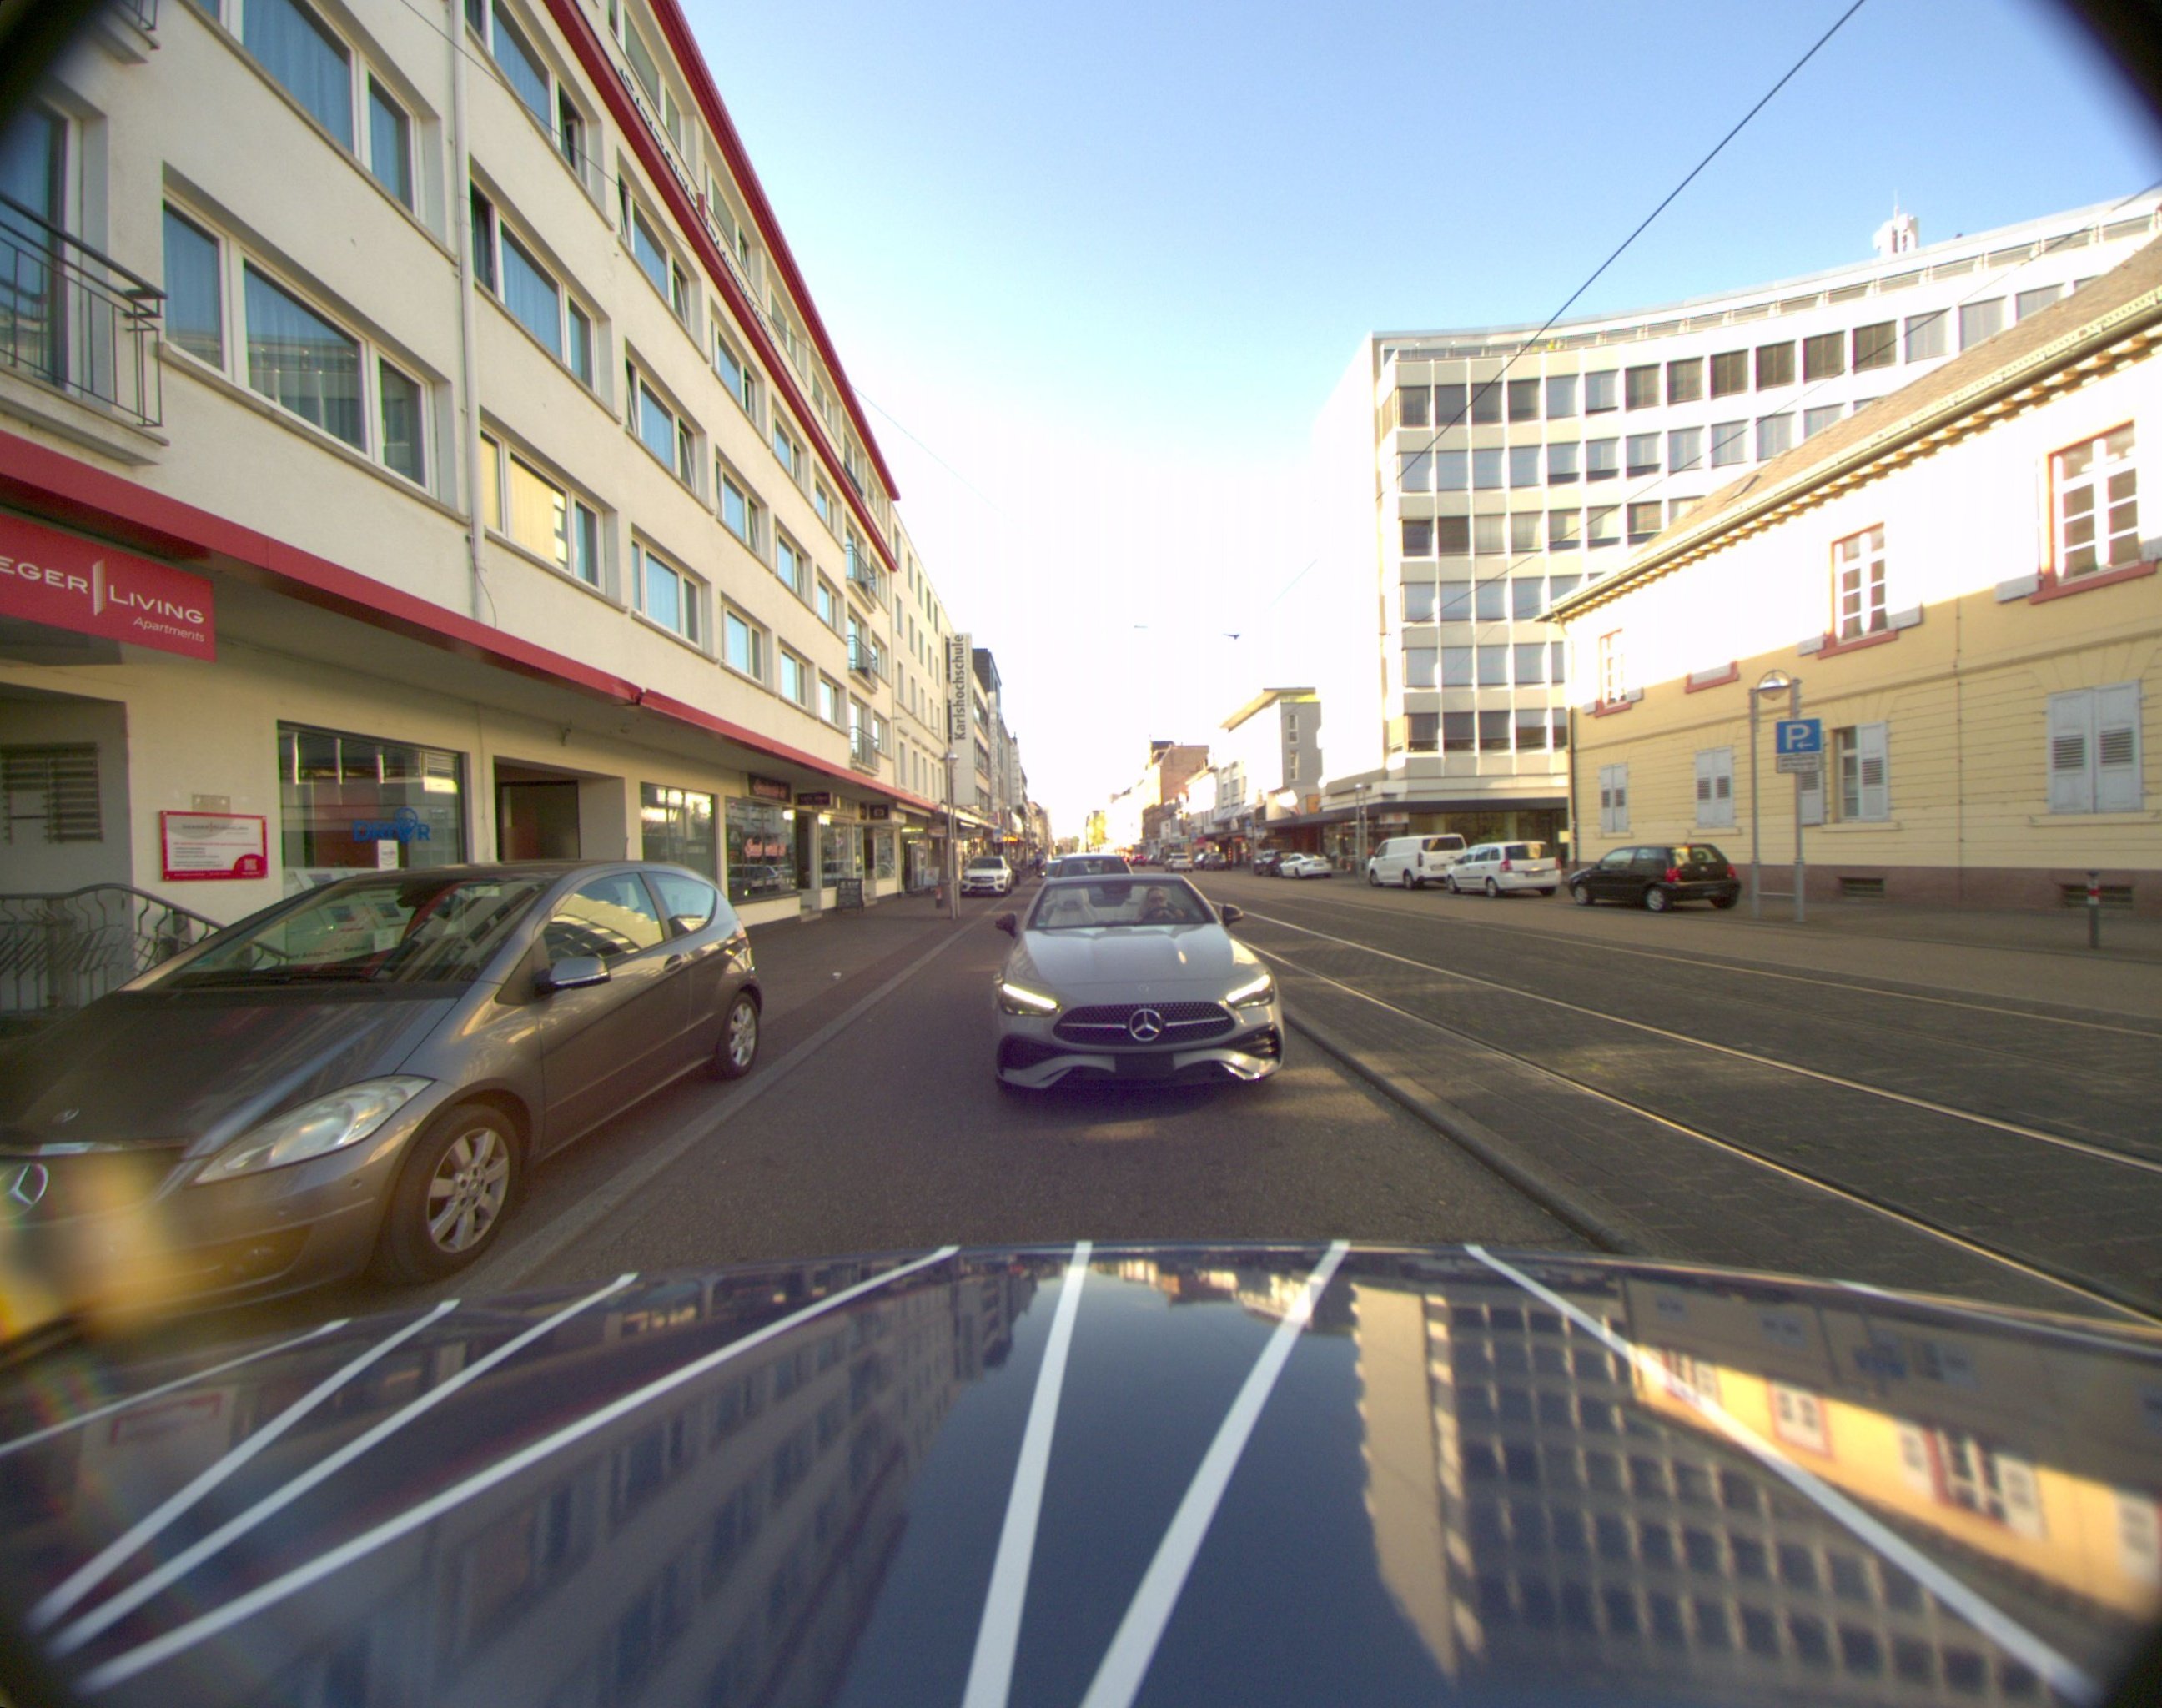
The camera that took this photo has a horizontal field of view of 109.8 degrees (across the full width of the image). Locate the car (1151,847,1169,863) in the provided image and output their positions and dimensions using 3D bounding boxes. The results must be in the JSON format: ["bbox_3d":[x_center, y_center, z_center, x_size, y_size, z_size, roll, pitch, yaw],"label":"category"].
[{"bbox_3d":[10.481,0.105,100.792,1.998,2.002,4.000,-1,0,1],"label":"car"}]

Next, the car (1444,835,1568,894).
[{"bbox_3d":[12.793,0.268,23.157,1.641,1.600,4.005,-2,1,3],"label":"car"}]

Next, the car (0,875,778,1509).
[{"bbox_3d":[-3.219,0.961,3.968,1.683,1.537,3.999,-2,0,-1],"label":"car"}]

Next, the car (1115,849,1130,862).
[{"bbox_3d":[6.829,0.224,125.295,1.914,1.883,3.855,-2,1,-2],"label":"car"}]

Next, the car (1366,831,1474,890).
[{"bbox_3d":[12.680,0.233,28.791,2.040,2.002,4.621,-1,0,1],"label":"car"}]

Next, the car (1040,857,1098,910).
[{"bbox_3d":[-0.408,0.874,24.443,1.648,1.506,3.844,-2,0,-2],"label":"car"}]

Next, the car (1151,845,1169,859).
[{"bbox_3d":[11.544,-0.314,111.473,1.999,2.002,3.998,-2,1,-2],"label":"car"}]

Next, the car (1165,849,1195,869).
[{"bbox_3d":[8.070,0.408,62.342,1.760,1.587,3.999,-1,0,-2],"label":"car"}]

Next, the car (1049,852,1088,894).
[{"bbox_3d":[-0.565,0.793,33.320,1.573,1.670,3.688,-2,1,-1],"label":"car"}]

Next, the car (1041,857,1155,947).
[{"bbox_3d":[0.199,0.863,15.708,1.927,1.533,3.998,-2,0,-4],"label":"car"}]

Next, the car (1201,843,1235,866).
[{"bbox_3d":[11.784,0.006,65.600,1.999,1.849,3.998,-2,1,-2],"label":"car"}]

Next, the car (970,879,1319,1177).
[{"bbox_3d":[0.221,1.010,6.172,1.884,1.375,3.998,-2,1,-4],"label":"car"}]

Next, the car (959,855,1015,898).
[{"bbox_3d":[-3.848,0.888,31.721,1.999,1.620,3.998,-1,0,-4],"label":"car"}]

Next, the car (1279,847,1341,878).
[{"bbox_3d":[12.639,0.422,42.258,1.999,1.521,4.373,-2,1,-1],"label":"car"}]

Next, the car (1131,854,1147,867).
[{"bbox_3d":[7.644,0.802,99.928,1.964,1.499,4.000,-2,1,4],"label":"car"}]

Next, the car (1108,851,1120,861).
[{"bbox_3d":[6.598,0.389,150.676,1.999,2.002,3.998,-2,1,-2],"label":"car"}]

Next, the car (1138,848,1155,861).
[{"bbox_3d":[10.425,0.042,121.528,1.999,2.002,5.320,-1,0,-2],"label":"car"}]

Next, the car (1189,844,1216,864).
[{"bbox_3d":[11.781,0.003,74.040,1.789,1.870,3.999,-1,0,-2],"label":"car"}]

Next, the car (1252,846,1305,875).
[{"bbox_3d":[12.328,0.364,47.687,1.999,1.694,4.107,-3,1,-2],"label":"car"}]

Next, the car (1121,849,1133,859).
[{"bbox_3d":[9.546,-0.016,157.340,1.999,2.002,3.999,-1,0,-2],"label":"car"}]

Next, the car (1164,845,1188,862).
[{"bbox_3d":[11.290,-0.061,90.664,2.200,2.030,3.999,-1,0,-1],"label":"car"}]

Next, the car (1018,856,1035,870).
[{"bbox_3d":[-6.151,0.967,86.533,1.714,1.430,3.756,-2,1,-1],"label":"car"}]

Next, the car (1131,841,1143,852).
[{"bbox_3d":[9.897,-1.311,134.003,1.998,2.002,4.001,-1,0,3],"label":"car"}]

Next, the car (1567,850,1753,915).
[{"bbox_3d":[12.845,0.563,17.118,1.688,1.246,3.212,-2,1,-1],"label":"car"}]

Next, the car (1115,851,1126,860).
[{"bbox_3d":[9.164,0.396,176.563,2.148,1.850,3.998,-2,1,-2],"label":"car"}]
